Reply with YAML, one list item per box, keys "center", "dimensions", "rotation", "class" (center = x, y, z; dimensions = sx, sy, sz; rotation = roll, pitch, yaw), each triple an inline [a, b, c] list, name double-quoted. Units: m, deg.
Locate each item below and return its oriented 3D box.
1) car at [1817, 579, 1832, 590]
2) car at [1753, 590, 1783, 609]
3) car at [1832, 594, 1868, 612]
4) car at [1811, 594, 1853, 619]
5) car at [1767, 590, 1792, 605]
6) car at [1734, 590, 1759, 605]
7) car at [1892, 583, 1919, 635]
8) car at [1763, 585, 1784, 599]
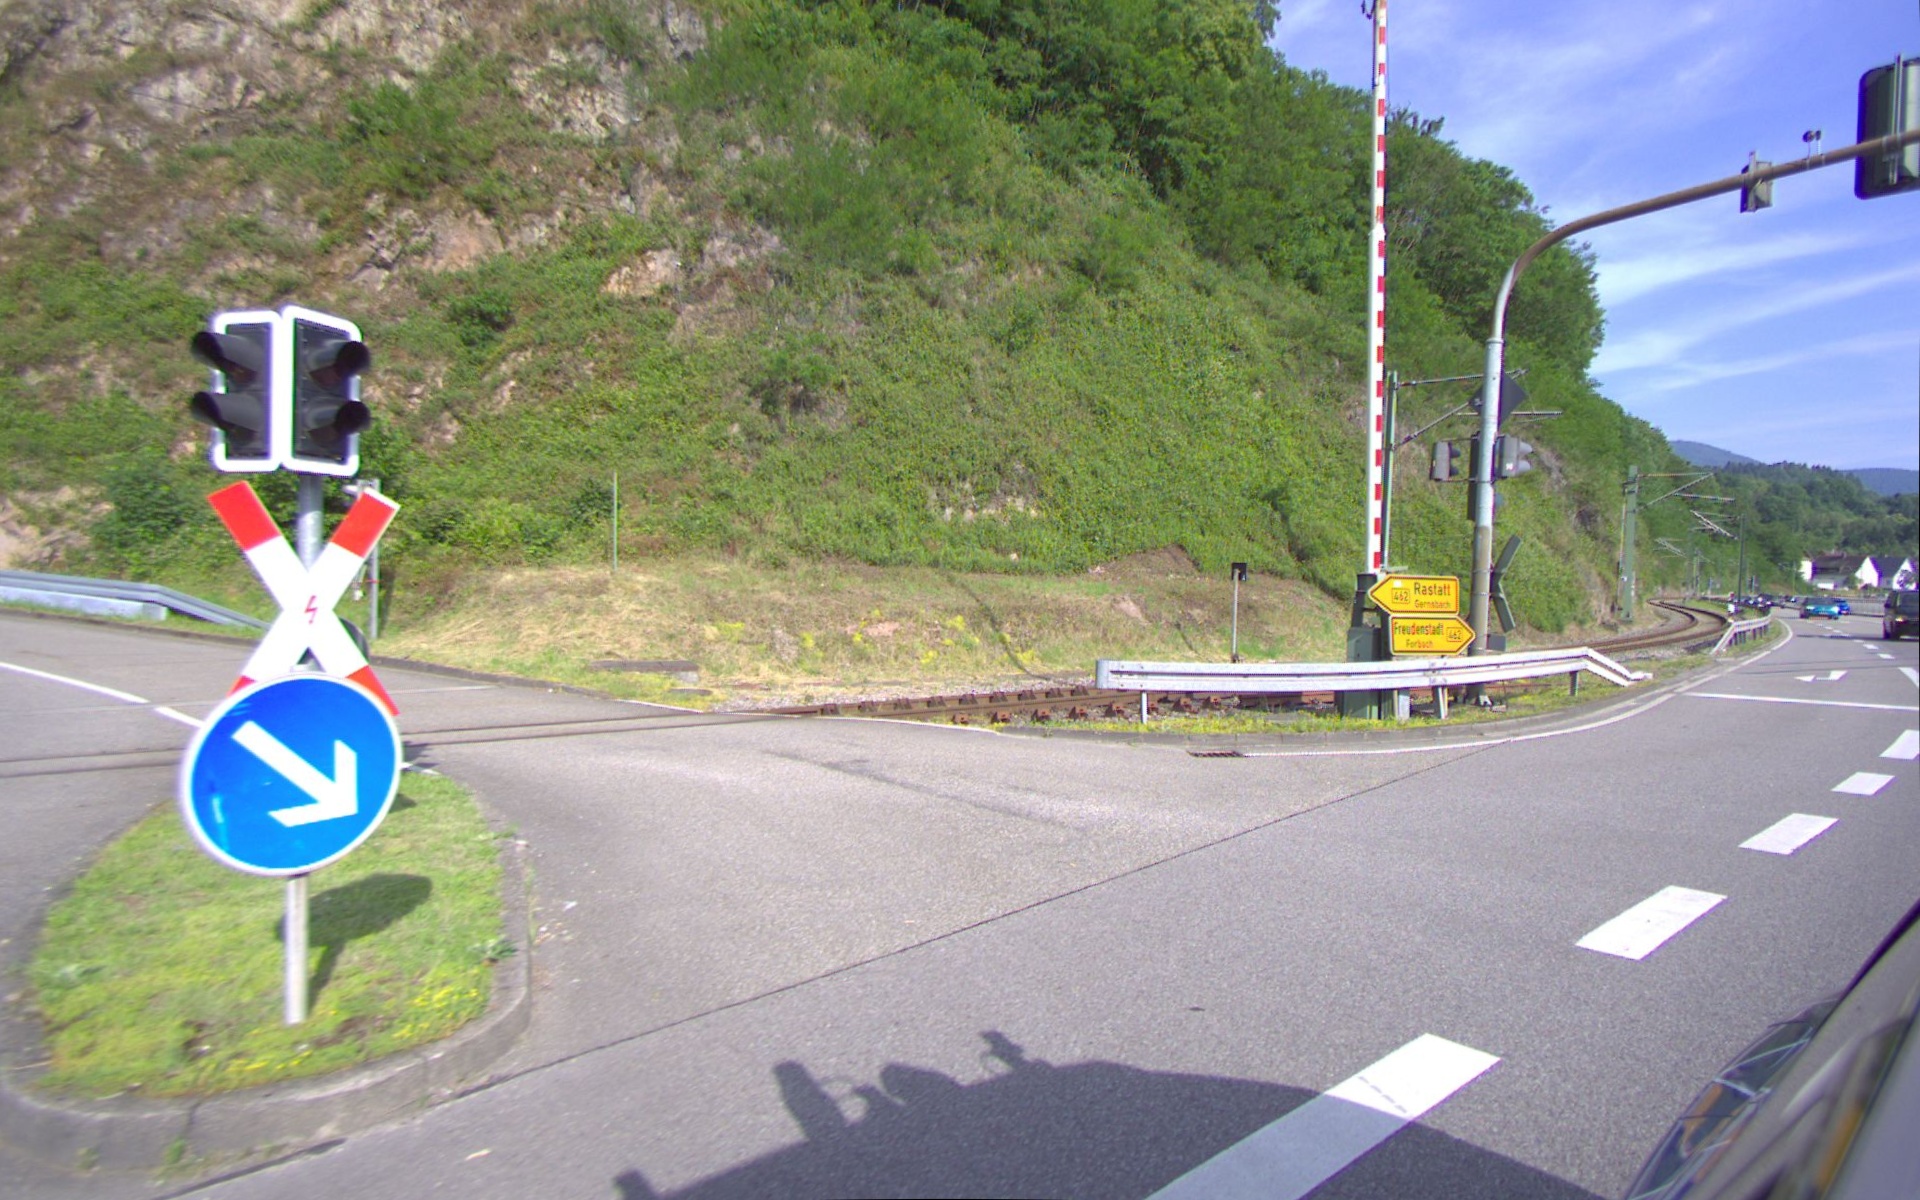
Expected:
- center: [157.893, -2.827, 184.786]
  dimensions: [1.990, 2.039, 3.943]
  rotation: [1, 1, 39]
  class: "car"
- center: [79.321, -0.084, 99.341]
  dimensions: [1.987, 1.816, 3.950]
  rotation: [1, 1, 35]
  class: "car"
- center: [78.258, 0.251, 89.032]
  dimensions: [1.776, 1.500, 4.470]
  rotation: [2, 1, 34]
  class: "car"
- center: [58.890, 0.391, 68.382]
  dimensions: [1.759, 1.478, 3.531]
  rotation: [4, 4, 36]
  class: "car"
- center: [98.769, -0.324, 121.998]
  dimensions: [1.810, 1.667, 4.559]
  rotation: [2, 2, 33]
  class: "car"
- center: [87.719, -0.325, 112.881]
  dimensions: [1.866, 1.478, 3.684]
  rotation: [3, 3, 34]
  class: "car"
- center: [36.298, 0.334, 37.748]
  dimensions: [1.900, 1.903, 4.287]
  rotation: [-1, -1, 38]
  class: "car"
- center: [117.244, -1.154, 145.872]
  dimensions: [1.785, 1.851, 4.771]
  rotation: [2, 1, 33]
  class: "car"
